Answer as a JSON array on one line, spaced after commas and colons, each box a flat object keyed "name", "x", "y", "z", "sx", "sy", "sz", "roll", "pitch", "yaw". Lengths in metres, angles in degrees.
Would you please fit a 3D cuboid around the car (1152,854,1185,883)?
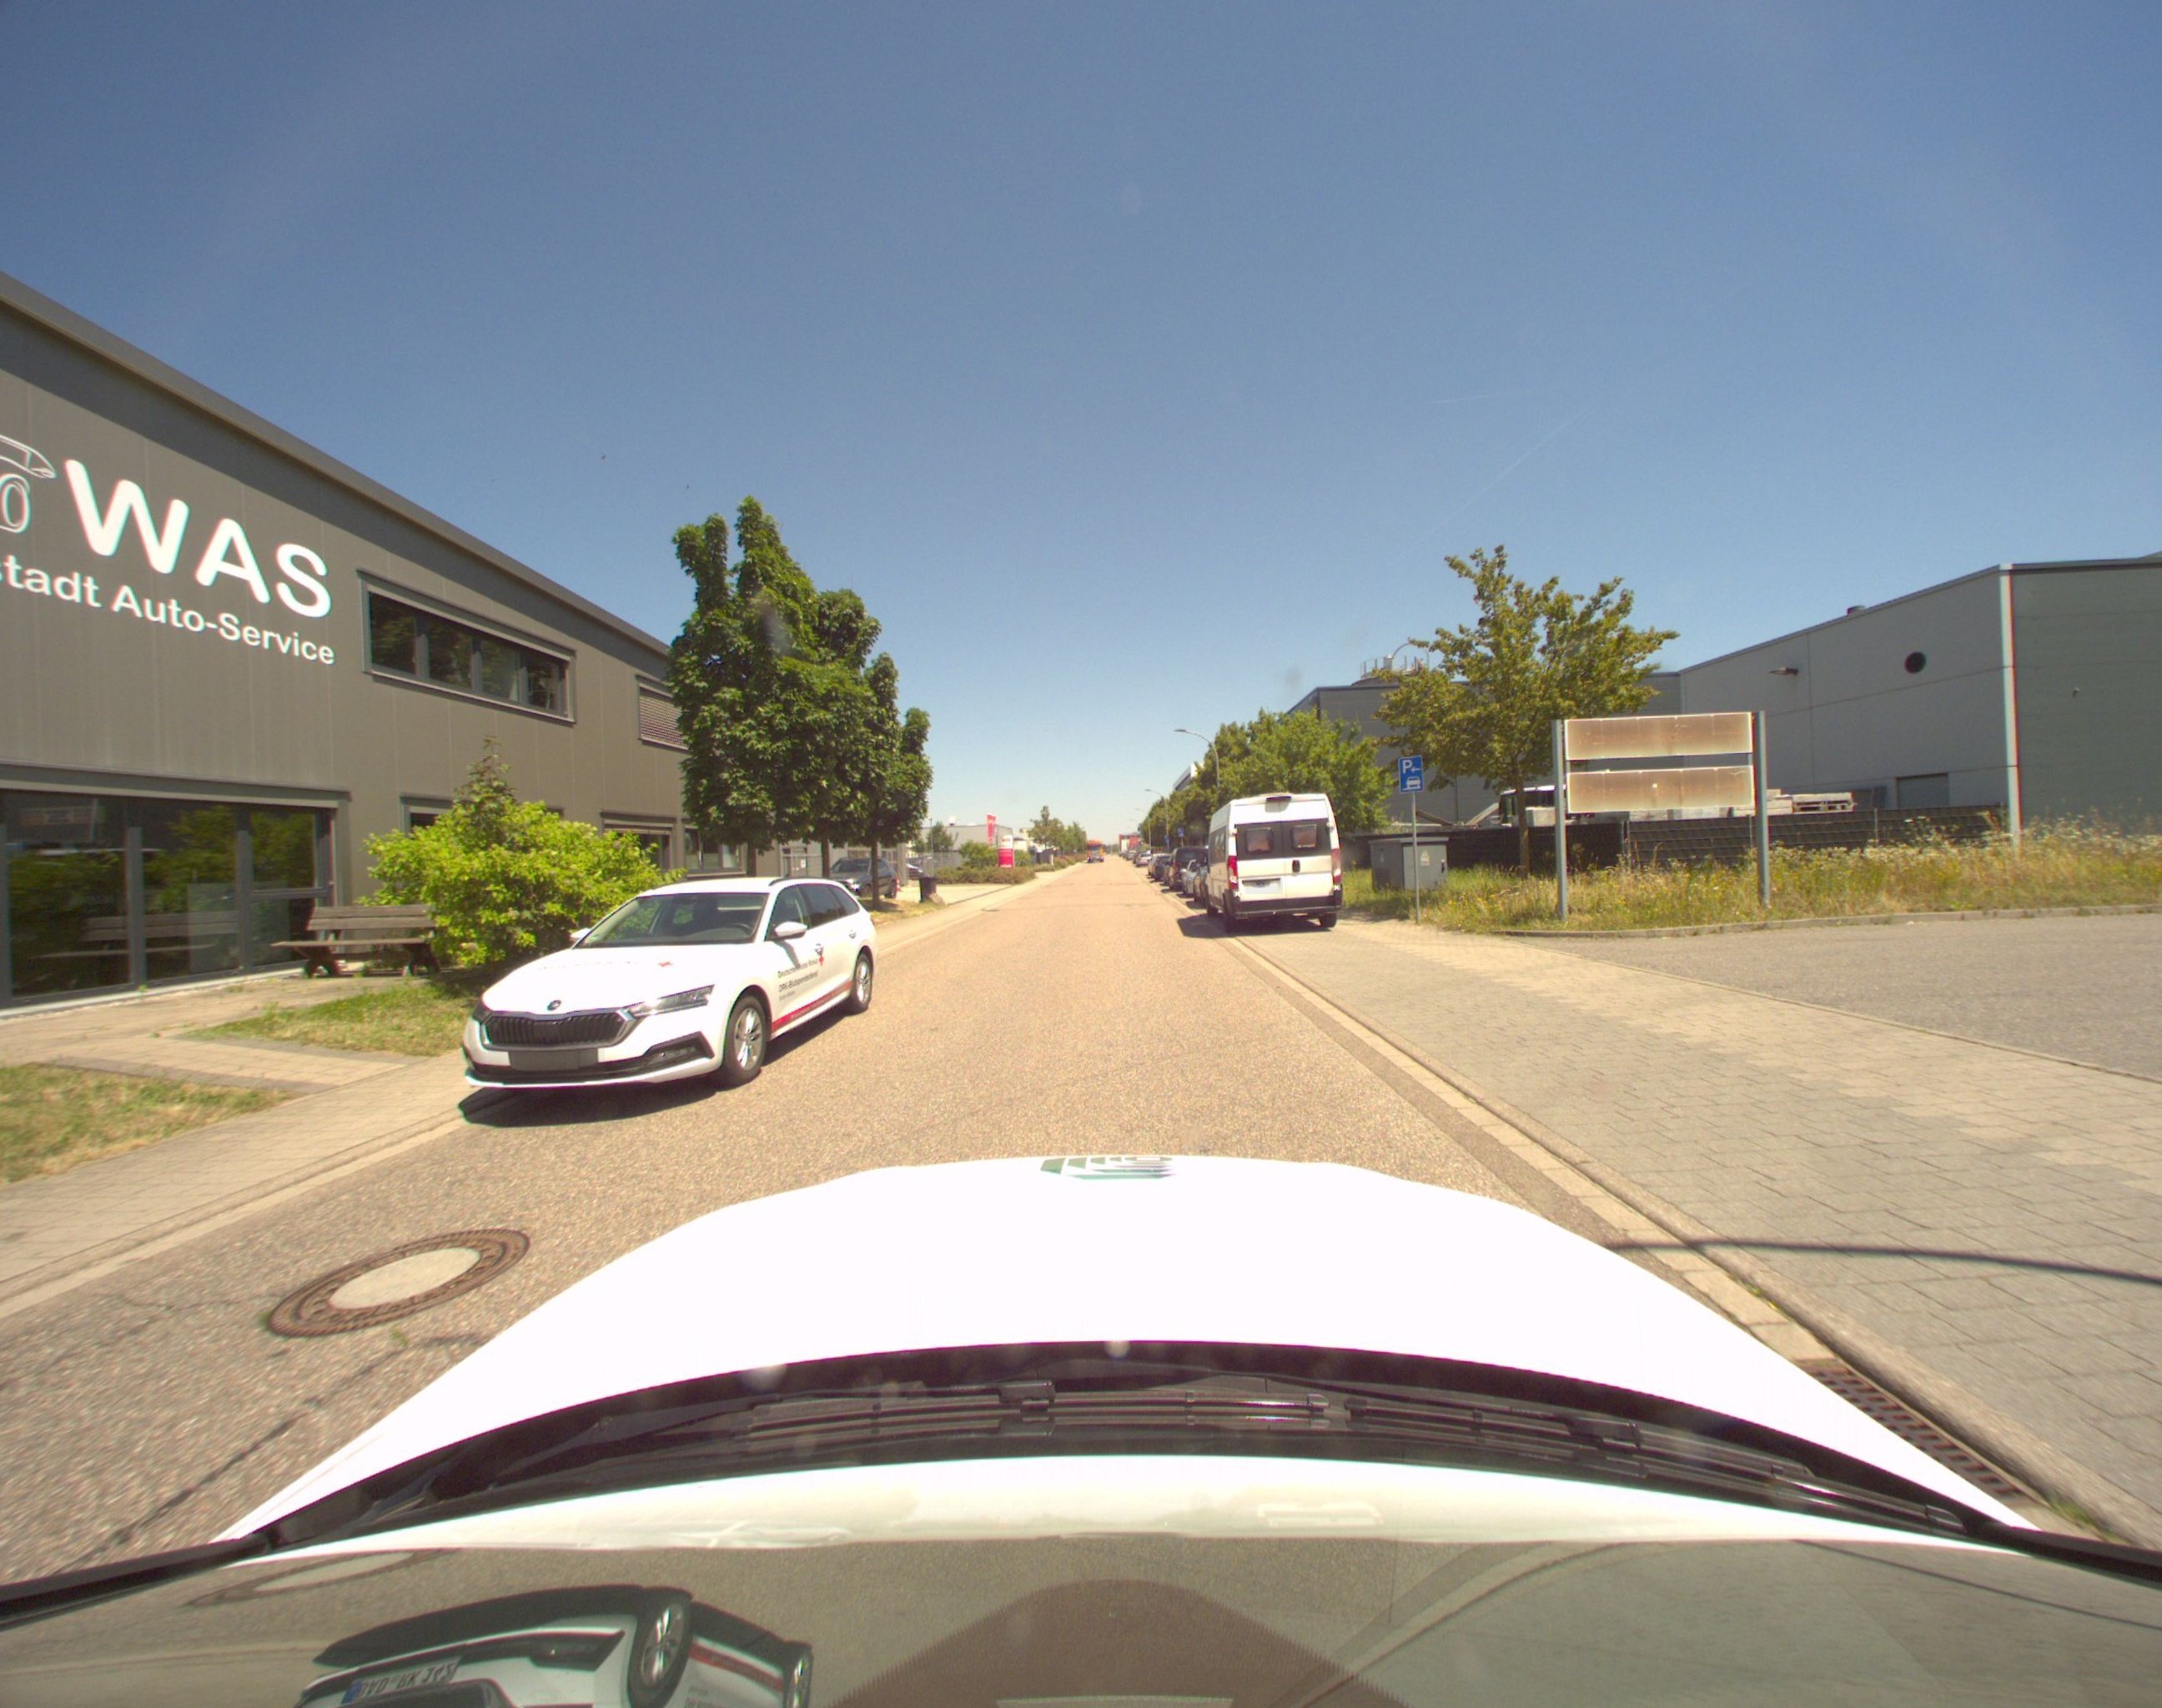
[{"name": "car", "x": 5.086, "y": 0.804, "z": 46.826, "sx": 1.700, "sy": 1.504, "sz": 4.715, "roll": -3, "pitch": -1, "yaw": 7}]

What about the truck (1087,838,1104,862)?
[{"name": "truck", "x": 2.342, "y": -0.676, "z": 129.026, "sx": 2.439, "sy": 3.513, "sz": 8.277, "roll": -3, "pitch": 0, "yaw": 2}]

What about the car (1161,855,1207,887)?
[{"name": "car", "x": 5.111, "y": 0.832, "z": 40.878, "sx": 1.843, "sy": 1.431, "sz": 4.715, "roll": -3, "pitch": -1, "yaw": 2}]

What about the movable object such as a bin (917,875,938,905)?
[{"name": "movable object such as a bin", "x": -5.494, "y": 1.286, "z": 29.245, "sx": 0.577, "sy": 1.065, "sz": 0.766, "roll": 0, "pitch": 0, "yaw": 2}]

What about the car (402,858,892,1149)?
[{"name": "car", "x": -3.163, "y": 0.936, "z": 7.216, "sx": 1.723, "sy": 1.458, "sz": 4.495, "roll": -2, "pitch": 3, "yaw": 2}]

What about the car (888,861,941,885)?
[{"name": "car", "x": -11.990, "y": 1.343, "z": 58.713, "sx": 3.492, "sy": 1.552, "sz": 1.556, "roll": -2, "pitch": 0, "yaw": -3}]

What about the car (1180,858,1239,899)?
[{"name": "car", "x": 4.538, "y": 0.845, "z": 29.337, "sx": 1.704, "sy": 1.287, "sz": 4.119, "roll": -3, "pitch": -1, "yaw": 4}]

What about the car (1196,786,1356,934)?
[{"name": "car", "x": 3.869, "y": 0.116, "z": 17.439, "sx": 2.257, "sy": 2.497, "sz": 6.159, "roll": -3, "pitch": 0, "yaw": 4}]

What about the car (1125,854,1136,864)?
[{"name": "car", "x": 7.973, "y": 0.794, "z": 130.624, "sx": 1.579, "sy": 1.409, "sz": 3.502, "roll": -2, "pitch": 0, "yaw": 2}]

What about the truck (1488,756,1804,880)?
[{"name": "truck", "x": 20.422, "y": -1.285, "z": 29.644, "sx": 9.974, "sy": 3.822, "sz": 3.028, "roll": -3, "pitch": 0, "yaw": -9}]

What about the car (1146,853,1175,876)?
[{"name": "car", "x": 5.660, "y": 0.737, "z": 58.244, "sx": 1.631, "sy": 1.469, "sz": 3.745, "roll": -3, "pitch": 0, "yaw": 0}]

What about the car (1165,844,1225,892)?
[{"name": "car", "x": 4.735, "y": 0.571, "z": 34.386, "sx": 1.986, "sy": 1.825, "sz": 4.356, "roll": -3, "pitch": -1, "yaw": 2}]

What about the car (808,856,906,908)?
[{"name": "car", "x": -8.543, "y": 1.016, "z": 31.603, "sx": 1.983, "sy": 1.735, "sz": 4.921, "roll": -1, "pitch": 1, "yaw": 6}]

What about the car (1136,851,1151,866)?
[{"name": "car", "x": 7.722, "y": 0.538, "z": 101.554, "sx": 1.714, "sy": 1.694, "sz": 3.987, "roll": -2, "pitch": 0, "yaw": 3}]

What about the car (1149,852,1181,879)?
[{"name": "car", "x": 5.386, "y": 0.724, "z": 52.659, "sx": 1.741, "sy": 1.562, "sz": 4.509, "roll": -3, "pitch": 0, "yaw": 3}]

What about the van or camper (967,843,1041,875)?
[{"name": "van or camper", "x": -8.110, "y": 0.499, "z": 85.967, "sx": 7.358, "sy": 3.037, "sz": 2.791, "roll": -2, "pitch": 0, "yaw": 1}]

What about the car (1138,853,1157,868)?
[{"name": "car", "x": 6.806, "y": 0.642, "z": 83.653, "sx": 1.711, "sy": 1.450, "sz": 3.648, "roll": -3, "pitch": 0, "yaw": 2}]

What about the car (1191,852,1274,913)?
[{"name": "car", "x": 4.274, "y": 0.730, "z": 23.567, "sx": 1.820, "sy": 1.493, "sz": 4.483, "roll": -3, "pitch": 0, "yaw": 4}]

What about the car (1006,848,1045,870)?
[{"name": "car", "x": -6.938, "y": 0.640, "z": 102.272, "sx": 4.703, "sy": 2.586, "sz": 1.999, "roll": -3, "pitch": 0, "yaw": -2}]
